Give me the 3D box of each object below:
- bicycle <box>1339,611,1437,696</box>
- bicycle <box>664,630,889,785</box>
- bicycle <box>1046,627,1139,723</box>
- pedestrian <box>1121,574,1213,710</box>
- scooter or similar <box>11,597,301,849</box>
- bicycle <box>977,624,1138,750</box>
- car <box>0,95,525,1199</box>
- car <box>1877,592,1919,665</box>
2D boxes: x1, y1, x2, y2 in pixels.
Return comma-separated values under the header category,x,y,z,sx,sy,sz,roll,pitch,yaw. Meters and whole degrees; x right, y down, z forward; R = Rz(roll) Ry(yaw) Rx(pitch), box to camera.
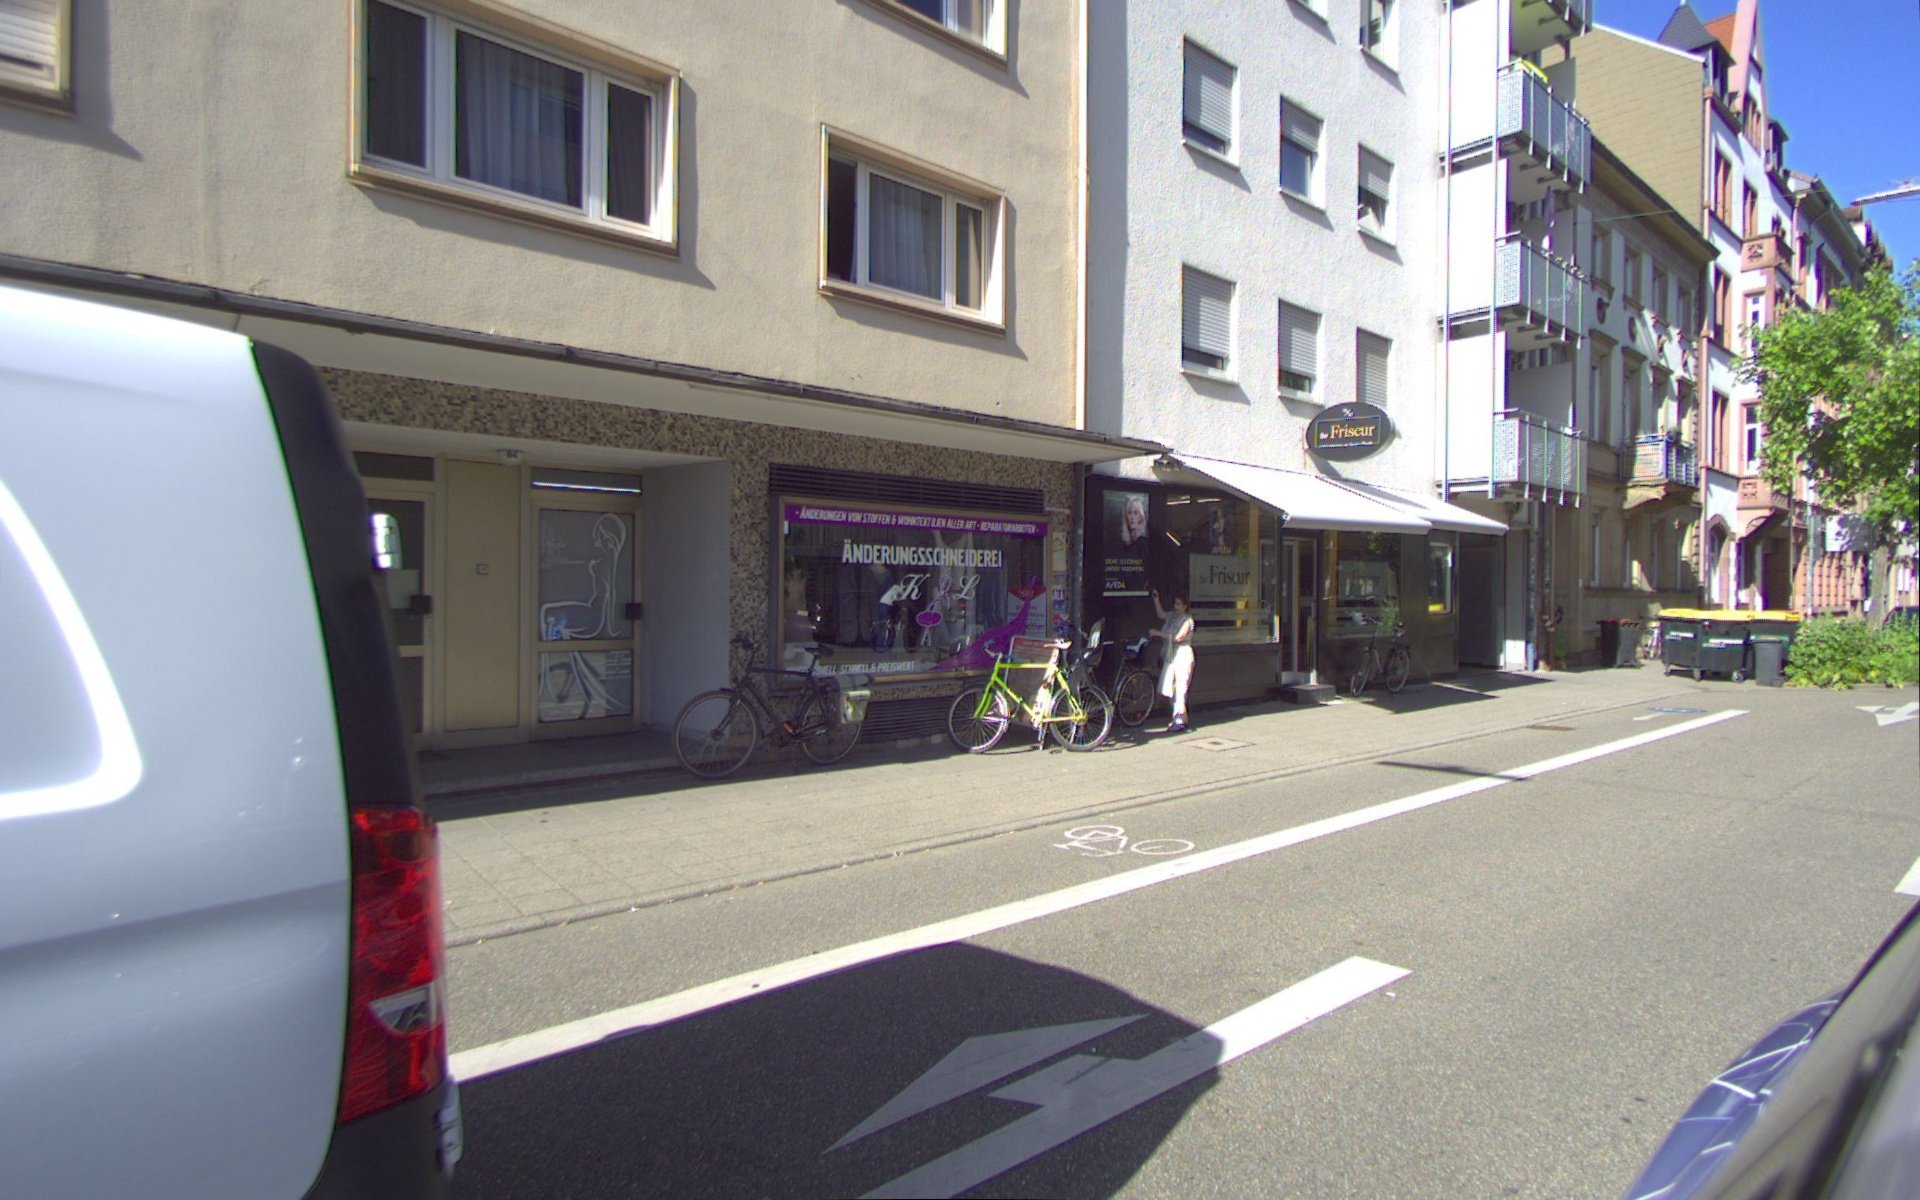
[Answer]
category,x,y,z,sx,sy,sz,roll,pitch,yaw
bicycle,6.419,0.764,15.141,1.743,1.157,0.598,0,3,-41
bicycle,-1.450,0.819,8.205,1.766,1.098,0.408,0,3,-36
bicycle,1.496,0.815,11.335,1.155,0.995,0.375,0,0,-43
pedestrian,2.340,0.451,11.458,0.774,1.460,0.615,3,2,45
scooter or similar,-4.400,0.604,5.597,1.207,1.240,0.527,0,0,-41
bicycle,0.972,0.826,10.005,1.475,1.120,0.719,1,0,18
car,-2.927,0.473,0.354,4.750,1.833,1.971,-1,1,-42
car,22.541,0.630,23.379,3.485,1.616,1.626,0,0,-41
